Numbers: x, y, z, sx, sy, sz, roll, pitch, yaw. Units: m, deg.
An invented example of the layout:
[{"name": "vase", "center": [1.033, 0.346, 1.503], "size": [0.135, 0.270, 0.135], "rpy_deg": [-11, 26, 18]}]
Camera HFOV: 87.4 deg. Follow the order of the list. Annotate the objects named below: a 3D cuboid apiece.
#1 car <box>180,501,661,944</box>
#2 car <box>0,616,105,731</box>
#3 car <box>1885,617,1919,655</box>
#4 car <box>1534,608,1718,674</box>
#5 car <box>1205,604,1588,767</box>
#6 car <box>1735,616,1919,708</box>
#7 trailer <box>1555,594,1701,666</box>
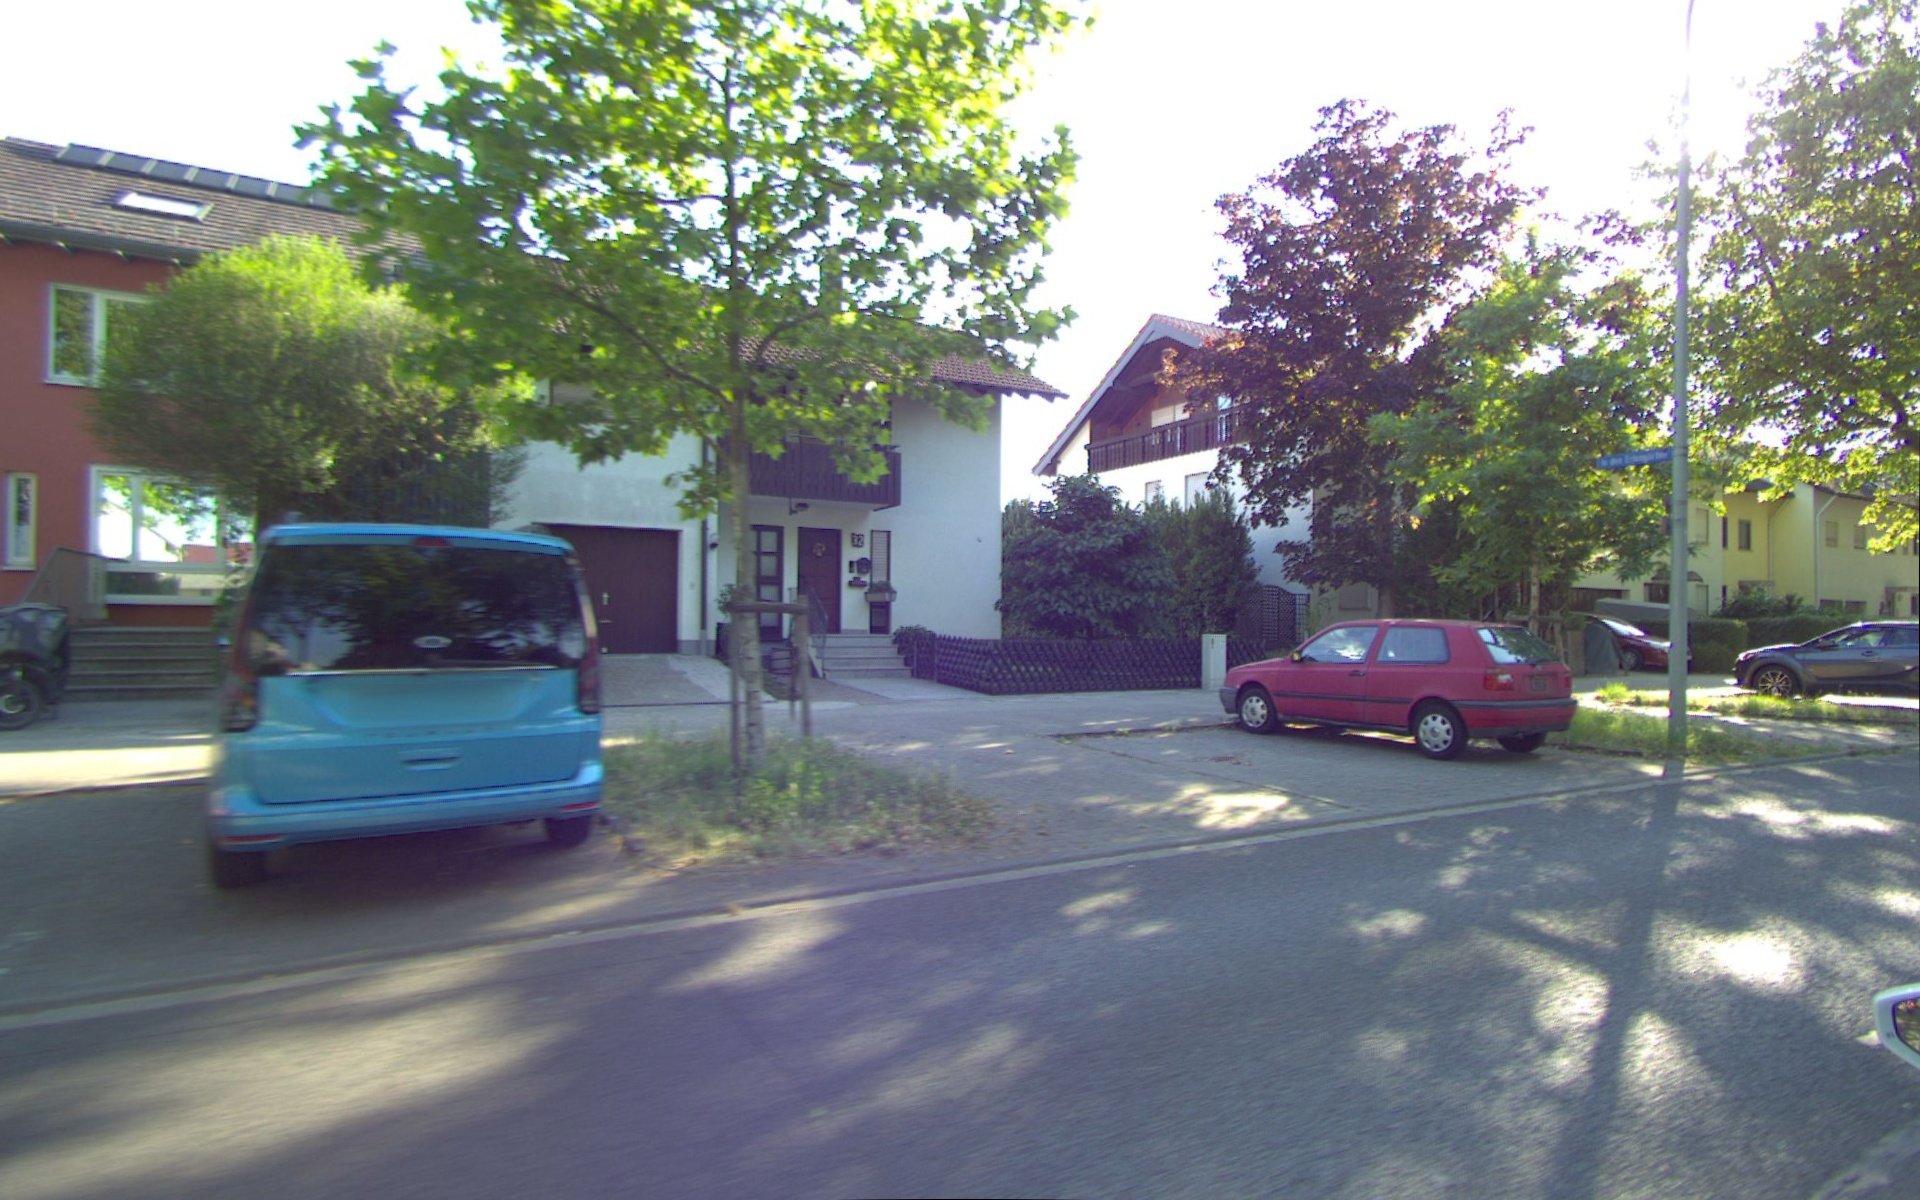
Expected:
[{"name": "car", "center": [-3.569, 0.492, 6.570], "size": [1.974, 1.848, 4.360], "rpy_deg": [1, 0, -32]}, {"name": "car", "center": [-9.729, 0.738, 10.684], "size": [0.692, 1.131, 1.507], "rpy_deg": [1, -1, -30]}, {"name": "car", "center": [39.908, 1.507, 40.067], "size": [1.877, 1.484, 3.972], "rpy_deg": [1, 1, -27]}, {"name": "car", "center": [19.396, 1.143, 29.424], "size": [1.975, 1.497, 3.970], "rpy_deg": [1, 3, -28]}, {"name": "car", "center": [4.870, 0.839, 11.726], "size": [1.647, 1.538, 3.849], "rpy_deg": [1, 0, -32]}, {"name": "car", "center": [16.887, 1.097, 18.337], "size": [1.796, 1.538, 3.968], "rpy_deg": [1, 0, -31]}, {"name": "trailer", "center": [21.239, 0.887, 32.055], "size": [1.623, 1.952, 3.437], "rpy_deg": [0, 4, -29]}]
